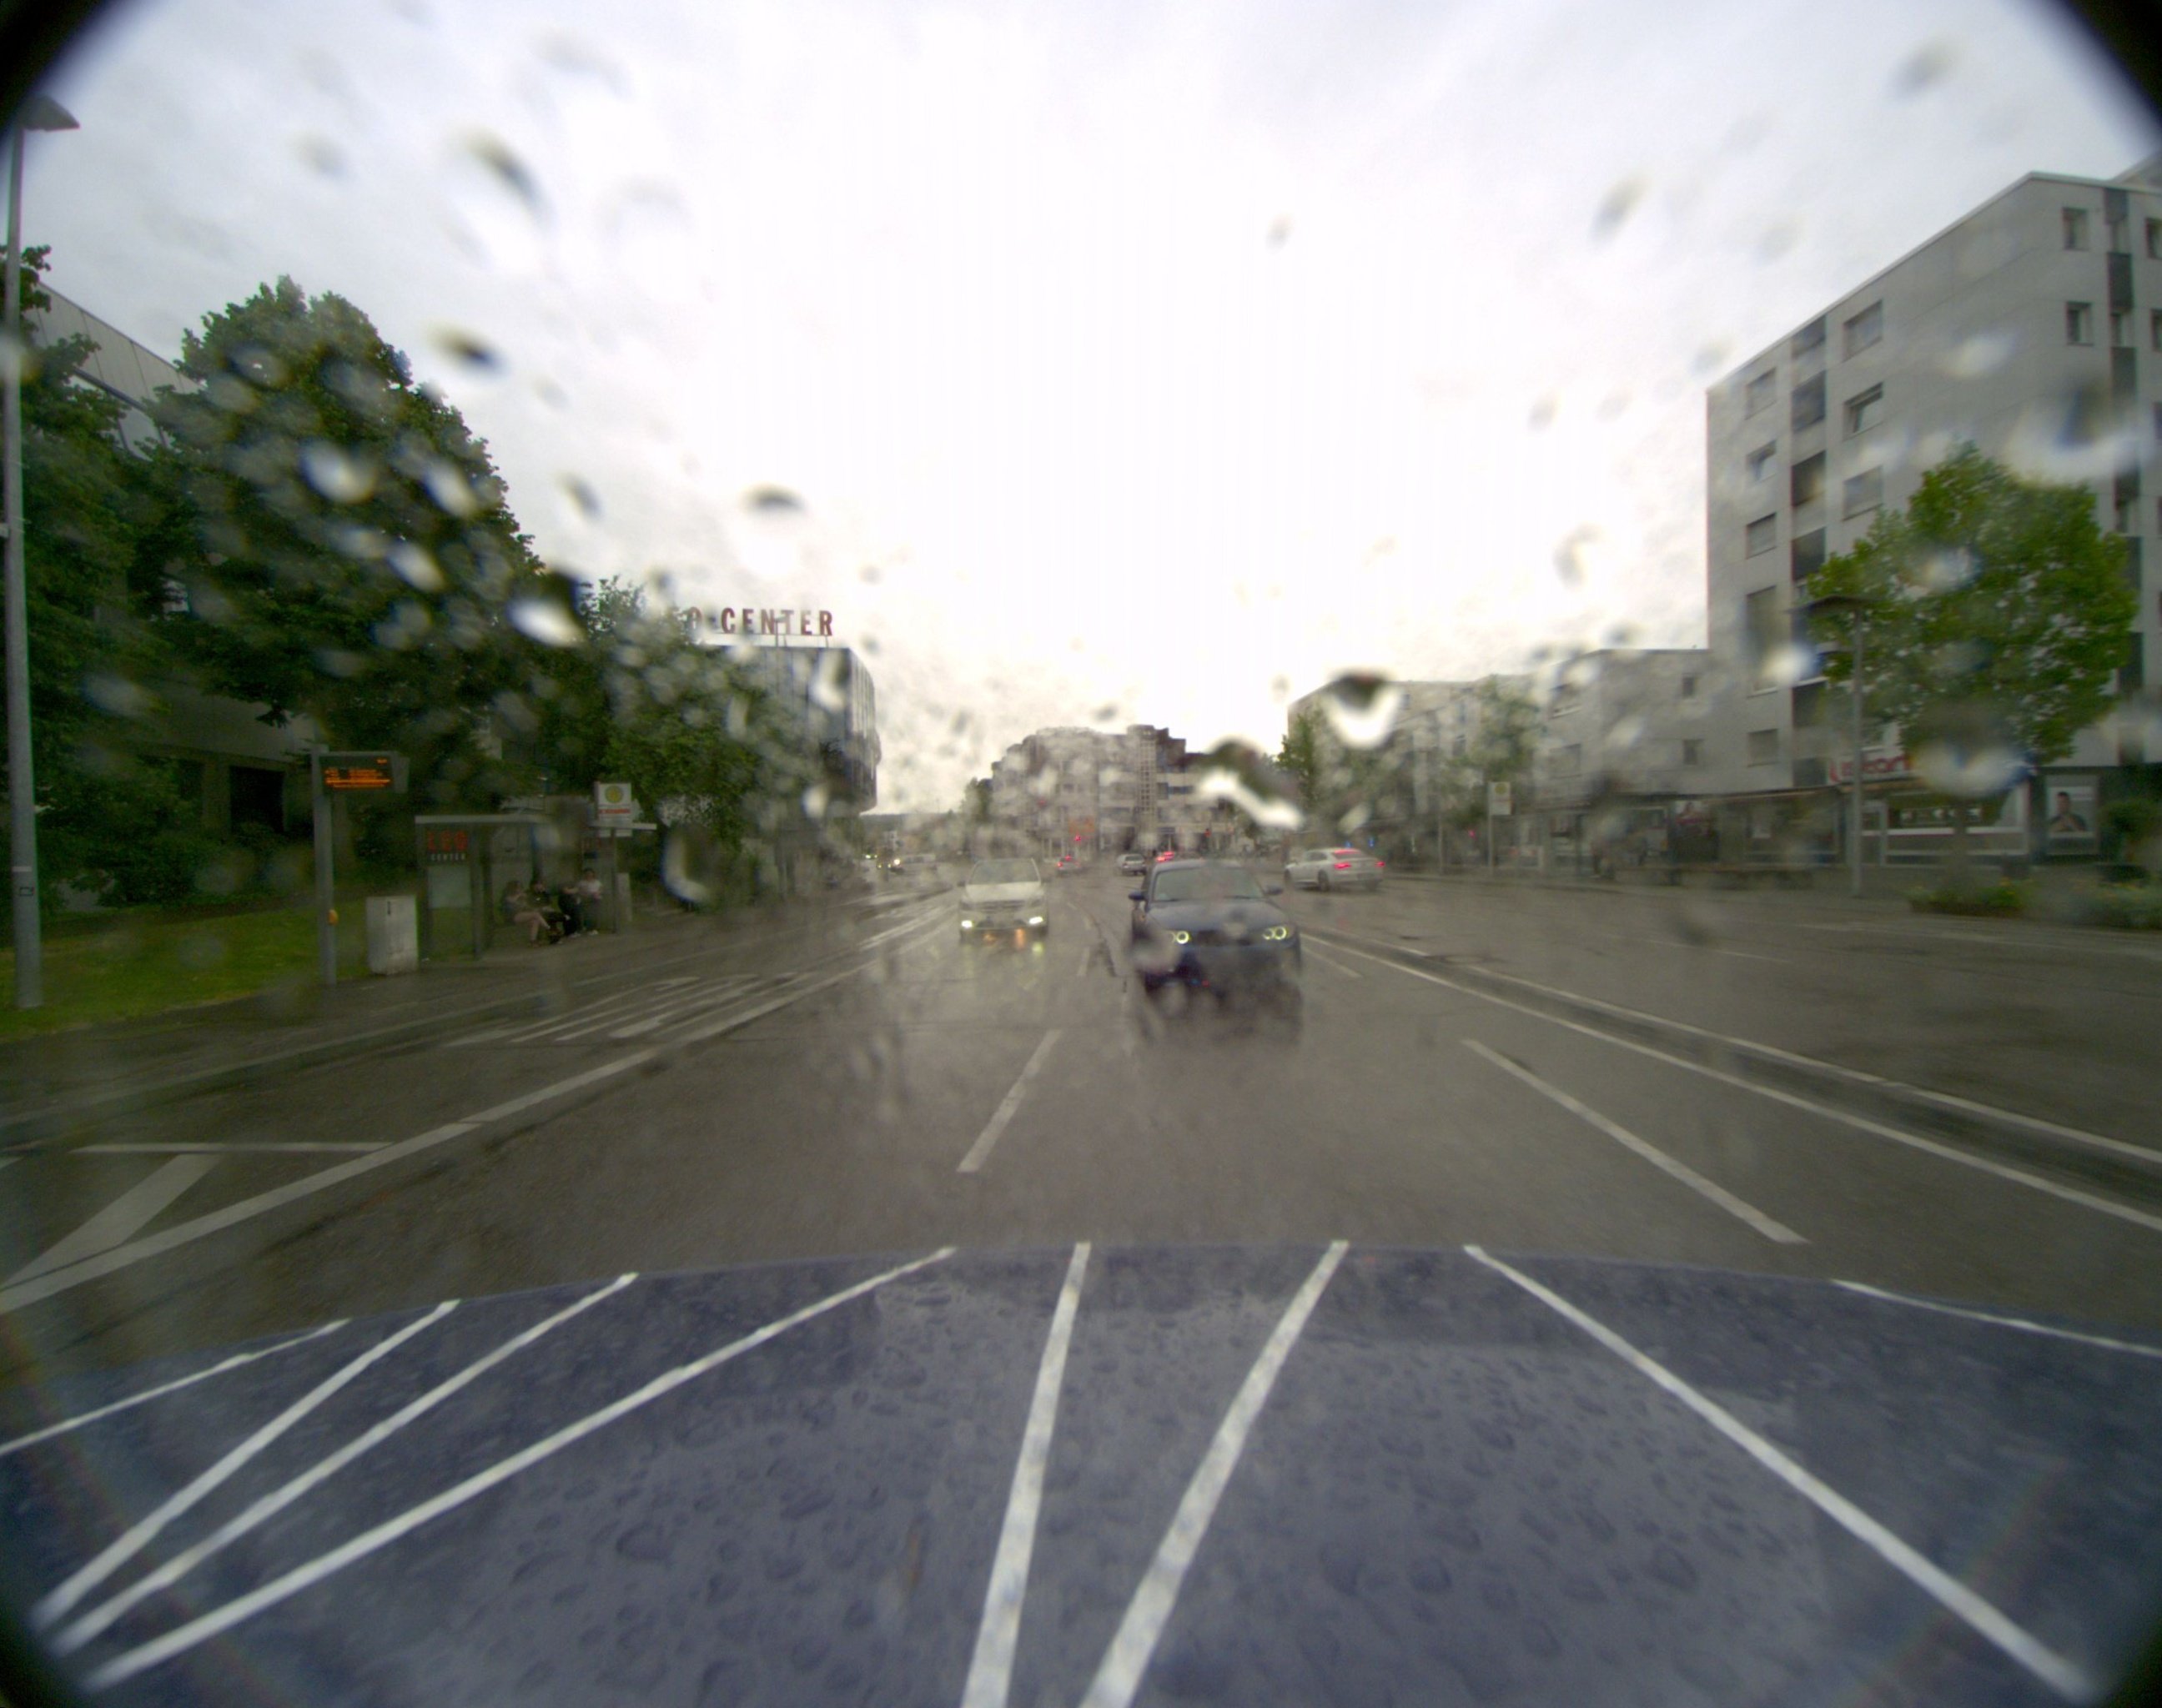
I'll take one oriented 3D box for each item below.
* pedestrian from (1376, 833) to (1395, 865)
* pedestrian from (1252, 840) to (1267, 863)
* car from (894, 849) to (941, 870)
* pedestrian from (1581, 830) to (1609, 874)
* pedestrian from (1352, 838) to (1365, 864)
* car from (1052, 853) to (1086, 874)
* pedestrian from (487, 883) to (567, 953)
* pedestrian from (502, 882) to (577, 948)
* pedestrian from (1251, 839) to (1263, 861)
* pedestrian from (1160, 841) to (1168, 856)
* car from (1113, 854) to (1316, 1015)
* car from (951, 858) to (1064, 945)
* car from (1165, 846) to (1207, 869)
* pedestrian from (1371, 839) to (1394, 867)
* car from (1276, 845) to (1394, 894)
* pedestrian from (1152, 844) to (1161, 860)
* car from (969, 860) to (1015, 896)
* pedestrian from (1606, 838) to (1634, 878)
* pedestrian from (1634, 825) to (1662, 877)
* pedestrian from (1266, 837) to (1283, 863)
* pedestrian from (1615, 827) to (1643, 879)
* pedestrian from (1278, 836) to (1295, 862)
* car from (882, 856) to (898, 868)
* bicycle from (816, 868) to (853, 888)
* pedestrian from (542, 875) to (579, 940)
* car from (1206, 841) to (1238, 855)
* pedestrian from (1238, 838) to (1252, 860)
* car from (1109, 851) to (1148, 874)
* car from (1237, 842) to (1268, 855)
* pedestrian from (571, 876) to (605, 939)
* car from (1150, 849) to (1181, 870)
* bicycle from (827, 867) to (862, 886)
[{"bbox_3d":[19.469,-0.329,48.631,0.760,2.002,0.864,-2,1,-5],"label":"pedestrian"},{"bbox_3d":[15.652,-0.224,66.614,0.906,1.904,0.977,-2,1,-6],"label":"pedestrian"},{"bbox_3d":[-17.547,0.587,81.537,4.602,2.002,1.996,-2,1,-20],"label":"car"},{"bbox_3d":[18.154,-0.070,26.837,0.537,1.496,0.614,-3,1,-29],"label":"pedestrian"},{"bbox_3d":[19.161,-0.224,52.498,0.549,1.740,0.680,-2,1,-4],"label":"pedestrian"},{"bbox_3d":[-0.915,0.683,56.703,1.763,1.443,3.996,-2,0,-12],"label":"car"},{"bbox_3d":[-10.622,1.211,14.607,1.033,1.274,0.691,0,0,-7],"label":"pedestrian"},{"bbox_3d":[-10.896,1.216,15.321,1.033,1.274,0.691,0,0,-7],"label":"pedestrian"},{"bbox_3d":[16.618,-0.365,71.652,0.761,2.002,0.863,-2,1,-7],"label":"pedestrian"},{"bbox_3d":[9.395,-0.620,86.043,0.682,1.733,0.585,-2,2,20],"label":"pedestrian"},{"bbox_3d":[1.417,0.808,9.523,1.676,1.534,3.912,-2,0,-2],"label":"car"},{"bbox_3d":[-1.453,0.914,16.605,1.761,1.540,4.327,-2,0,3],"label":"car"},{"bbox_3d":[6.995,0.269,51.061,1.763,1.418,3.997,-2,0,-8],"label":"car"},{"bbox_3d":[18.331,-0.078,46.191,1.010,1.636,0.726,-3,1,-6],"label":"pedestrian"},{"bbox_3d":[8.579,0.481,26.176,1.848,1.452,4.805,-3,1,-8],"label":"car"},{"bbox_3d":[8.360,-0.249,84.442,0.838,1.733,0.585,-3,1,0],"label":"pedestrian"},{"bbox_3d":[-4.129,1.082,35.731,1.632,1.481,3.839,-2,0,0],"label":"car"},{"bbox_3d":[18.268,0.128,25.755,0.536,1.344,0.578,-2,1,0],"label":"pedestrian"},{"bbox_3d":[18.396,-0.109,24.661,0.536,1.650,0.479,-2,1,0],"label":"pedestrian"},{"bbox_3d":[15.298,-0.300,60.066,0.906,2.002,0.977,-2,1,-6],"label":"pedestrian"},{"bbox_3d":[17.714,-0.029,24.559,0.479,1.650,0.536,-2,1,-4],"label":"pedestrian"},{"bbox_3d":[16.366,-0.407,60.467,0.906,2.002,0.977,-2,1,-6],"label":"pedestrian"},{"bbox_3d":[-25.535,1.087,101.497,1.903,1.517,3.994,-2,1,-16],"label":"car"},{"bbox_3d":[-13.398,1.297,41.286,1.807,1.078,0.685,0,-2,-8],"label":"bicycle"},{"bbox_3d":[-11.204,1.133,16.368,0.410,1.357,0.544,1,1,36],"label":"pedestrian"},{"bbox_3d":[19.026,-0.858,102.261,3.900,1.710,1.744,-2,1,-24],"label":"car"},{"bbox_3d":[14.316,-0.454,66.409,0.905,1.904,0.977,-2,1,-2],"label":"pedestrian"},{"bbox_3d":[3.212,0.561,52.040,1.705,1.457,4.099,-1,0,-10],"label":"car"},{"bbox_3d":[24.022,-0.723,106.359,3.900,1.710,1.744,-2,1,-24],"label":"car"},{"bbox_3d":[-11.053,1.187,17.039,0.410,1.357,0.544,1,1,37],"label":"pedestrian"},{"bbox_3d":[6.428,0.387,58.188,1.762,1.418,4.887,-2,1,0],"label":"car"},{"bbox_3d":[-13.792,1.302,44.334,1.836,1.104,0.693,0,1,-8],"label":"bicycle"}]
